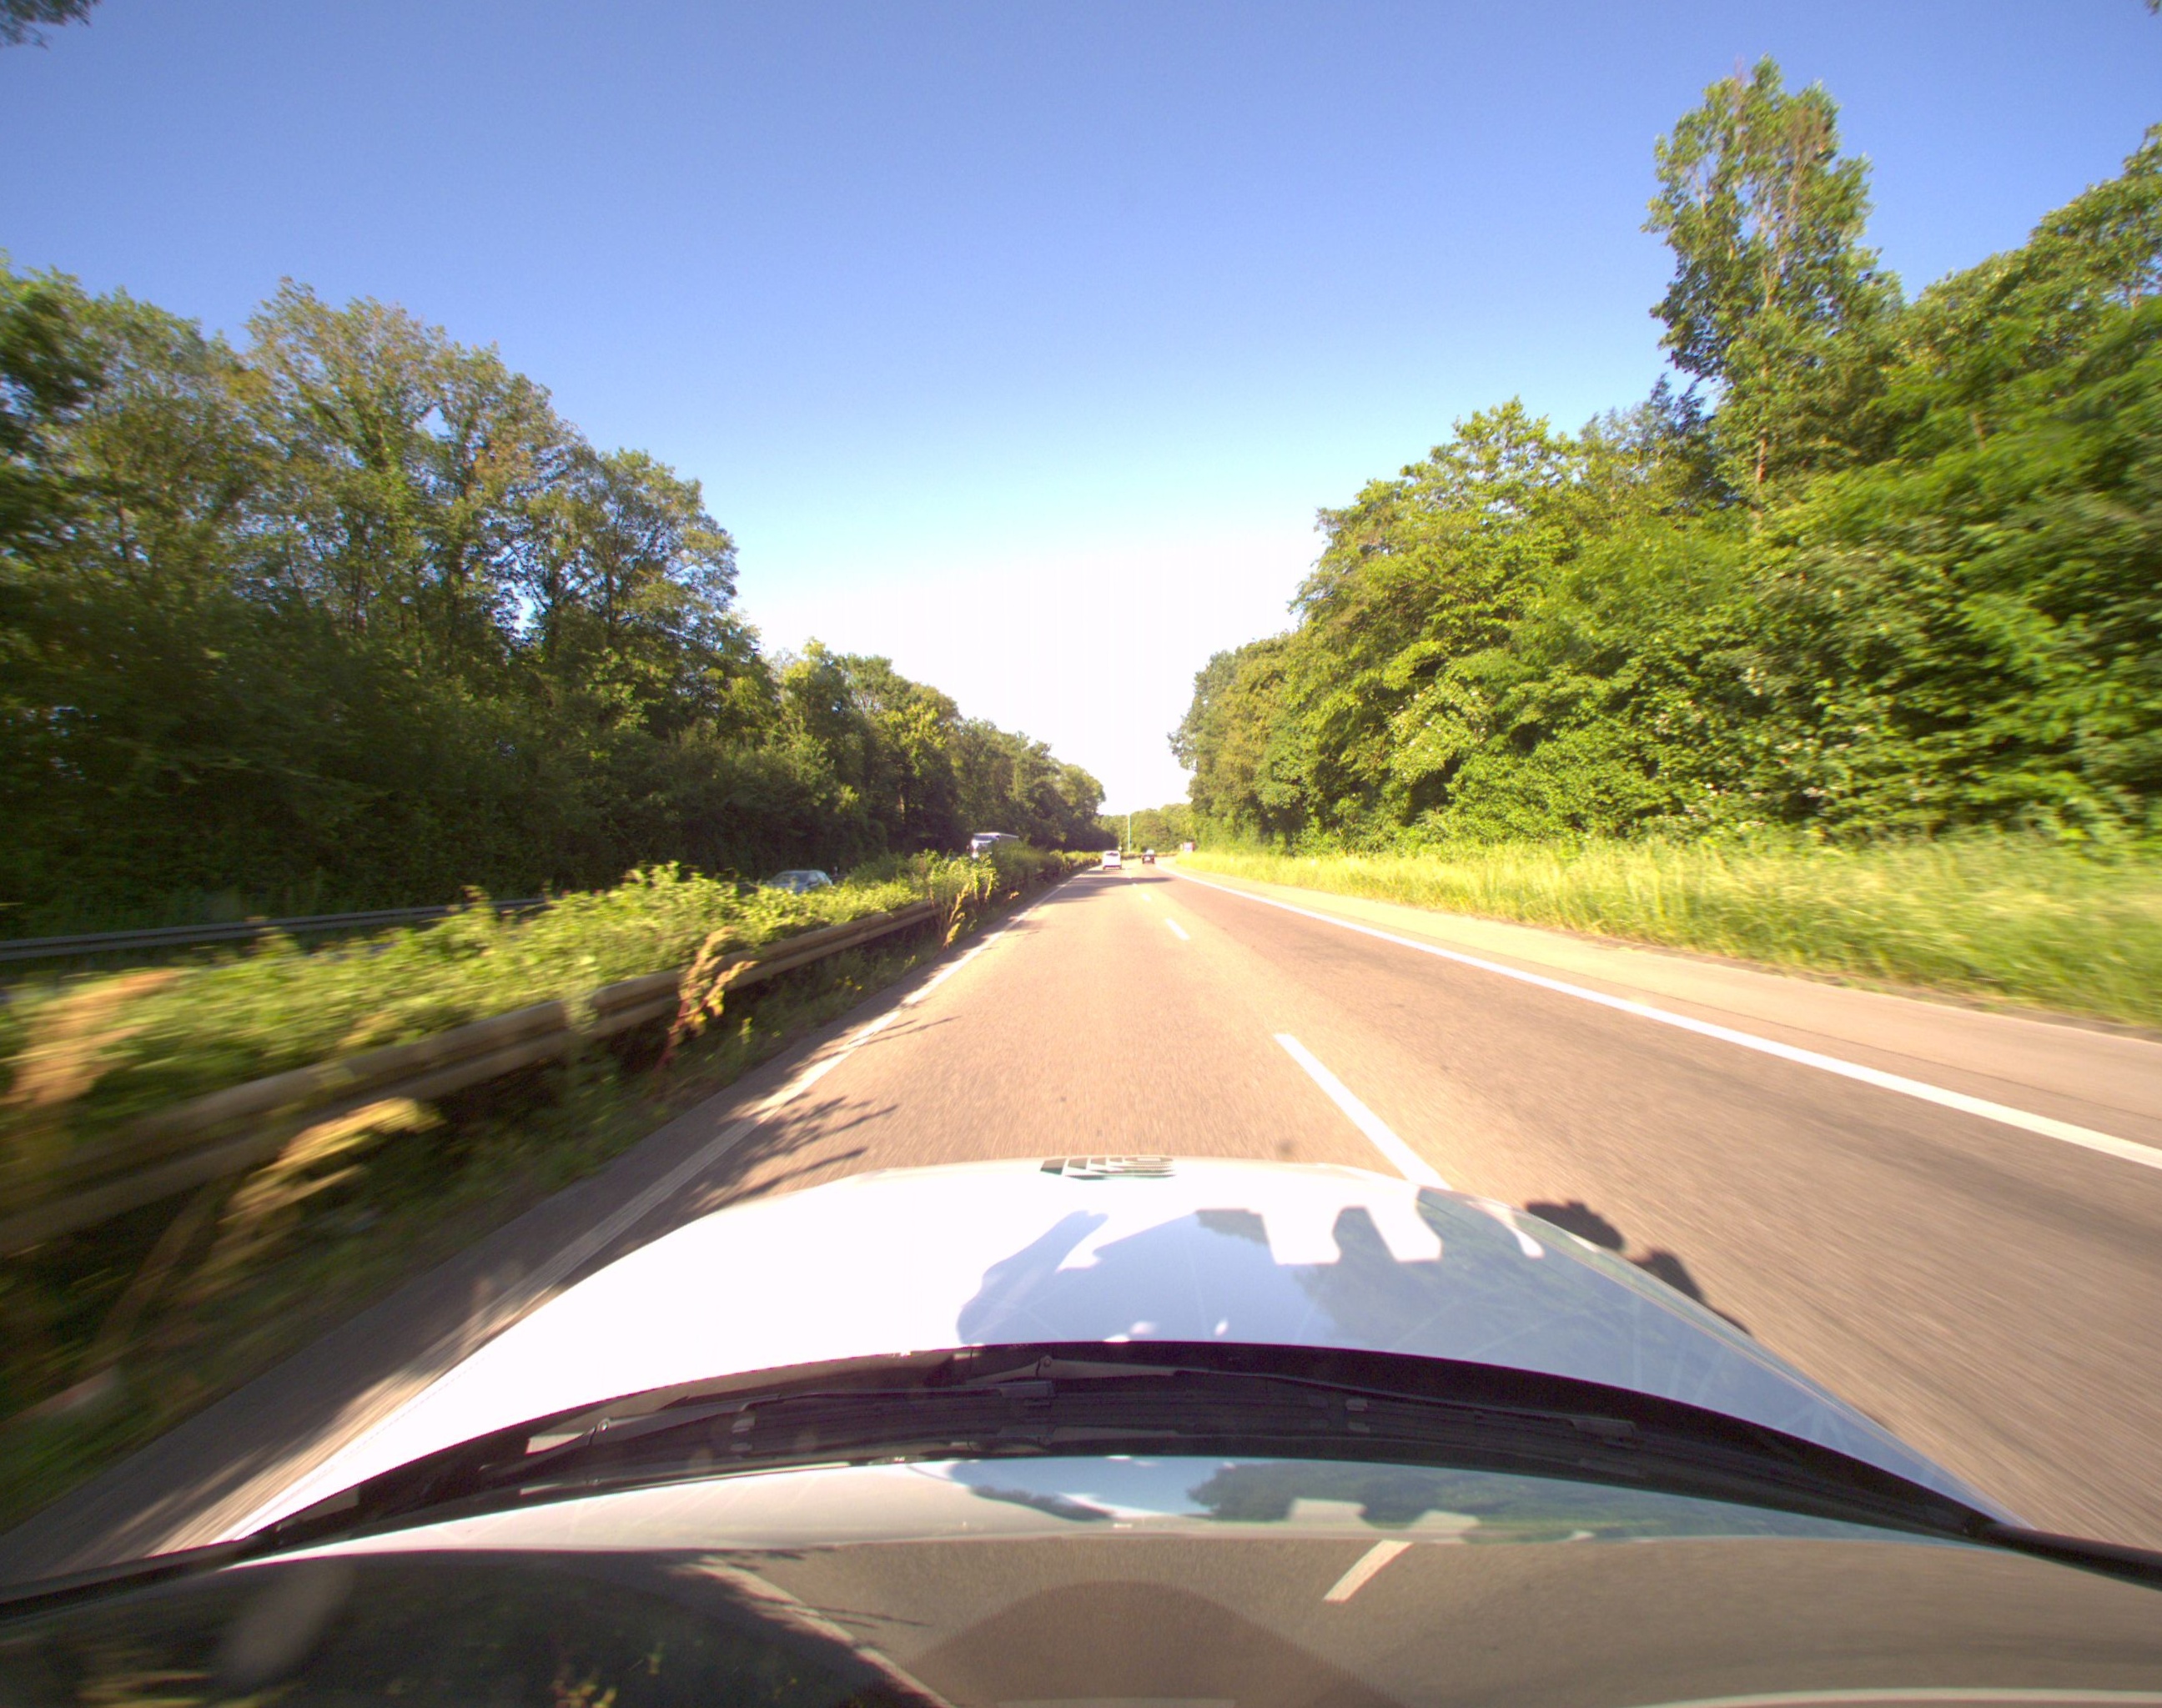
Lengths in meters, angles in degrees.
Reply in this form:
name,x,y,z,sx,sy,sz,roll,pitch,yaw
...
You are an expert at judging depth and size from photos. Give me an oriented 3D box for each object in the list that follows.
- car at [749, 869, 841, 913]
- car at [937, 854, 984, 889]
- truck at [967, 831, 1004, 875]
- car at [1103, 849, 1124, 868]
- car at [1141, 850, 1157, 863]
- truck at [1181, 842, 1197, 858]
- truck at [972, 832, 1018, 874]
name,x,y,z,sx,sy,sz,roll,pitch,yaw
car,-10.706,1.345,30.841,1.793,1.442,4.438,-1,0,2
car,-6.636,0.959,45.100,1.771,1.848,4.003,-1,0,3
truck,-9.204,-0.093,78.935,2.705,4.096,5.439,-1,0,2
car,3.147,0.449,80.036,1.944,1.782,4.588,-1,0,1
car,9.871,0.360,118.364,1.944,1.782,4.588,-1,0,1
truck,30.581,-1.181,230.367,3.709,4.343,9.336,-1,0,13
truck,-8.899,-0.051,86.065,2.697,4.096,14.029,-1,0,2
